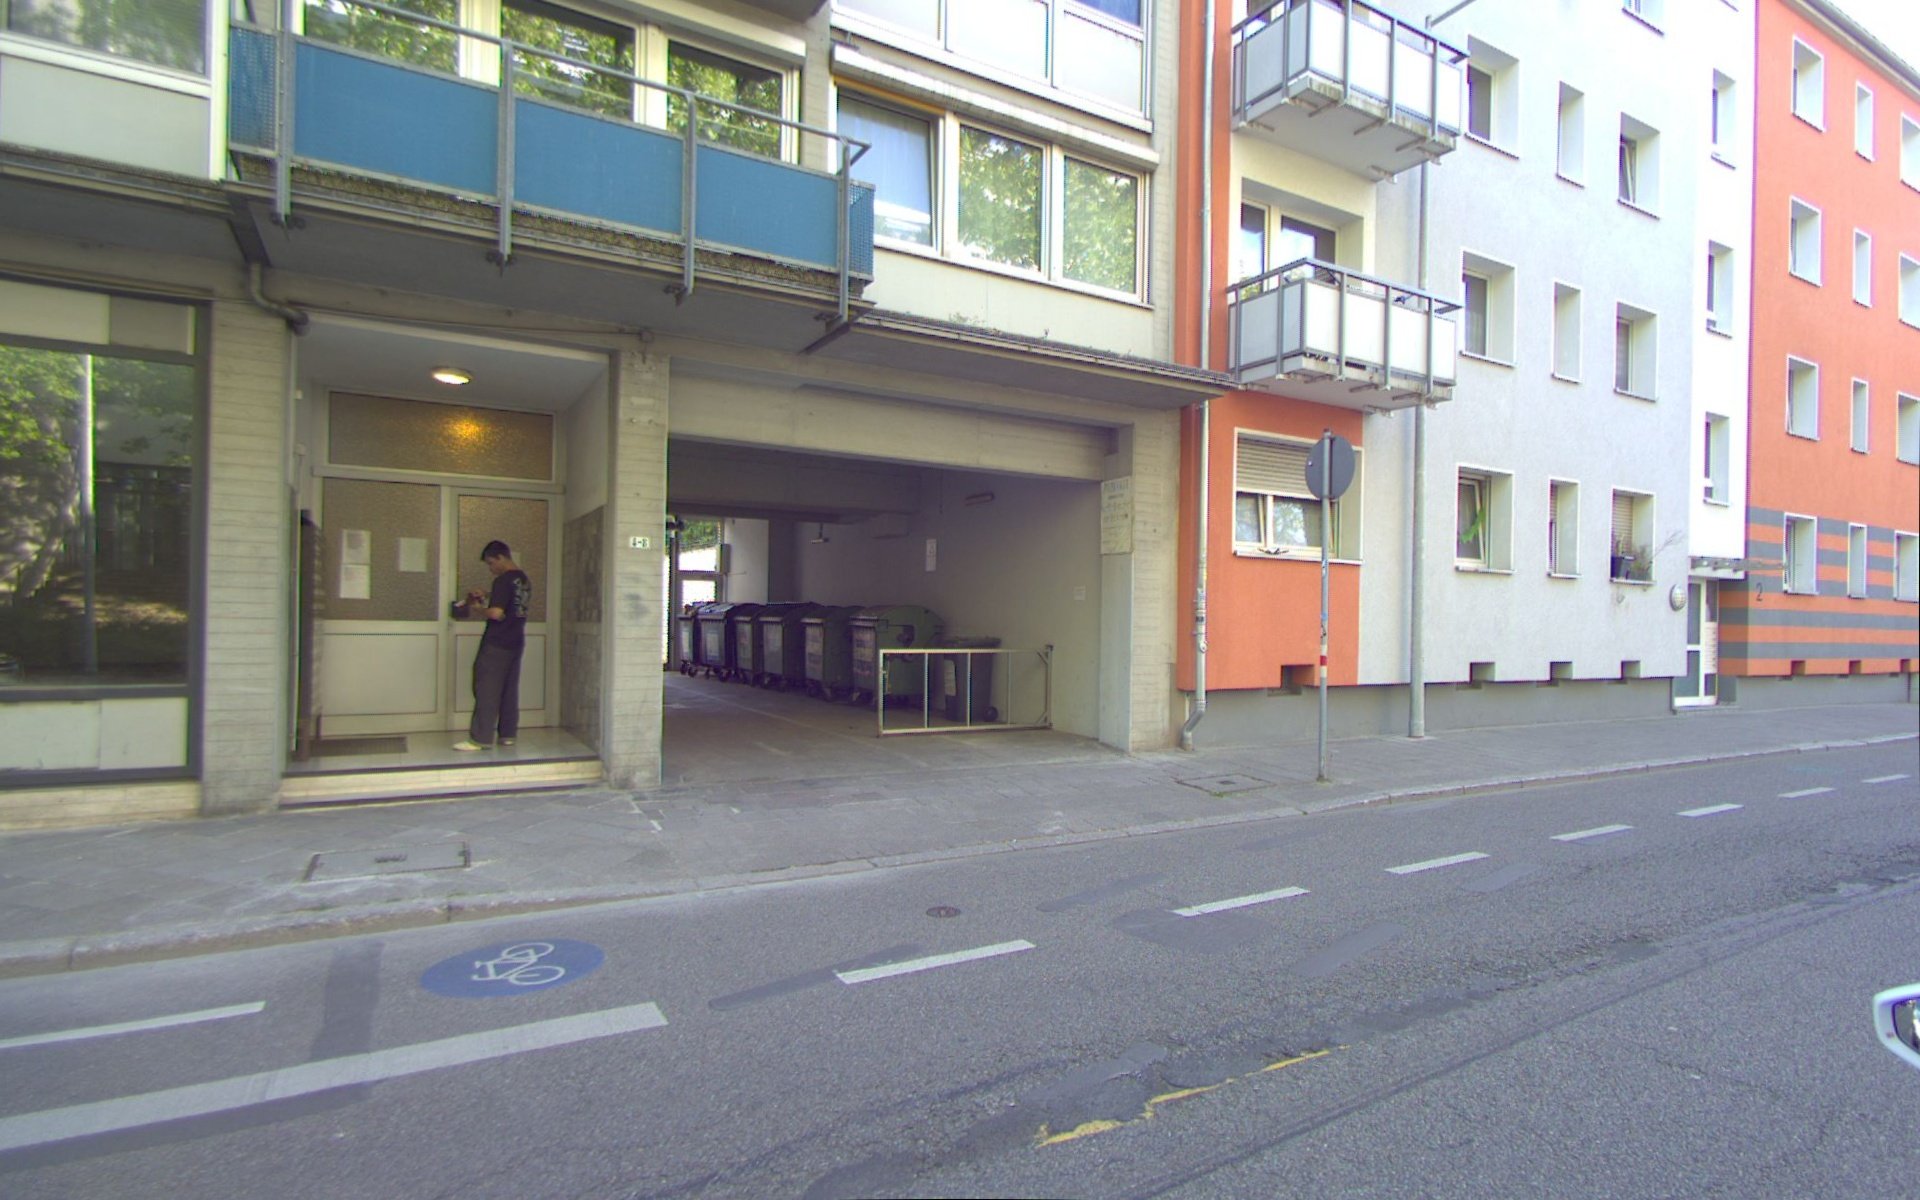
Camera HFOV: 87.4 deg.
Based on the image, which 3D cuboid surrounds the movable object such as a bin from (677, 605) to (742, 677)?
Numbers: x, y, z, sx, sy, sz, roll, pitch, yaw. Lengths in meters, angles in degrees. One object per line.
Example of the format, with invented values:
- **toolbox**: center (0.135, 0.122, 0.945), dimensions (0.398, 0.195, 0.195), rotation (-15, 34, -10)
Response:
- **movable object such as a bin**: center (-5.116, 0.813, 20.467), dimensions (1.010, 1.409, 1.246), rotation (1, 0, -26)

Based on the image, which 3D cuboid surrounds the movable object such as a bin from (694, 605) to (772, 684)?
- **movable object such as a bin**: center (-4.305, 0.819, 19.010), dimensions (1.014, 1.409, 1.264), rotation (1, 0, -37)

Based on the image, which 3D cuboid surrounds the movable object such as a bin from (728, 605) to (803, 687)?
- **movable object such as a bin**: center (-3.507, 0.804, 18.059), dimensions (1.012, 1.409, 1.046), rotation (1, 0, -31)

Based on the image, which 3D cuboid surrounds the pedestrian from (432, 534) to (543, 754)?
- **pedestrian**: center (-3.960, 0.355, 8.439), dimensions (0.518, 1.764, 0.630), rotation (1, 0, 27)

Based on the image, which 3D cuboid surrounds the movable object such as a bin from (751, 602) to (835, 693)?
- **movable object such as a bin**: center (-2.842, 0.777, 17.020), dimensions (1.011, 1.462, 1.317), rotation (1, 0, -29)

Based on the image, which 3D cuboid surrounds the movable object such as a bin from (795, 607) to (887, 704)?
- **movable object such as a bin**: center (-1.856, 0.819, 15.500), dimensions (1.011, 1.409, 1.319), rotation (1, 0, -27)

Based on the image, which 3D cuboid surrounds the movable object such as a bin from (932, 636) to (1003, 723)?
- **movable object such as a bin**: center (0.091, 0.998, 12.851), dimensions (0.704, 1.054, 0.583), rotation (1, 0, -30)

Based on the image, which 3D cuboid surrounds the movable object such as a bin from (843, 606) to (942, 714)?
- **movable object such as a bin**: center (-0.974, 0.809, 14.192), dimensions (1.009, 1.438, 1.321), rotation (1, 0, -23)
